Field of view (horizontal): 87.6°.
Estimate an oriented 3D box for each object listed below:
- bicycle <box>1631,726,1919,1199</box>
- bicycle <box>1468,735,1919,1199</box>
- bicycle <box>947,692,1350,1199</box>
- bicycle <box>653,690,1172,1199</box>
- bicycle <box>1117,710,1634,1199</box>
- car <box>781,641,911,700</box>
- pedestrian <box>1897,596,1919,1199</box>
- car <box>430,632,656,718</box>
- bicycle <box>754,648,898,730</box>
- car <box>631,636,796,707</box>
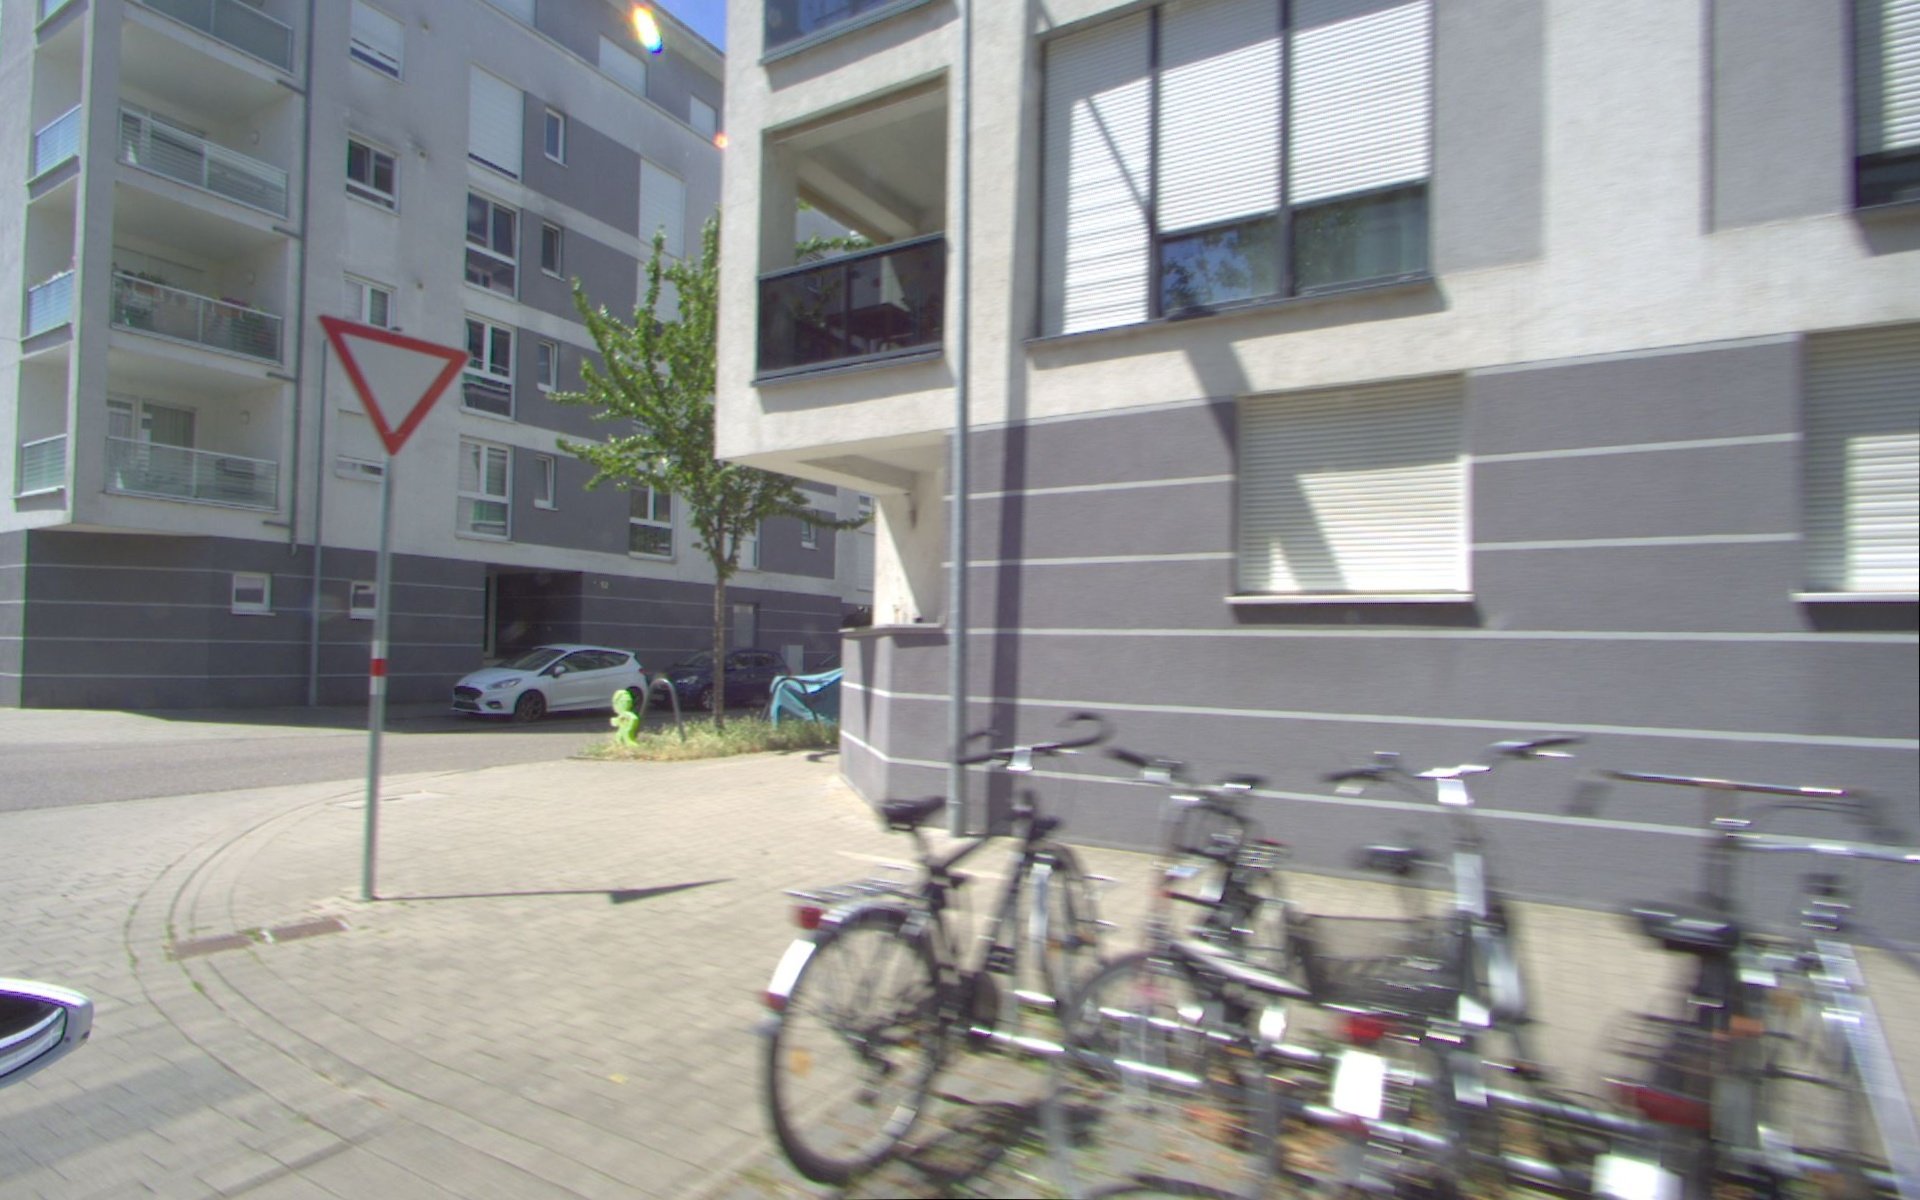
[{"bbox_3d":[1.989,0.921,1.985,0.452,1.163,1.839,0,-2,12],"label":"bicycle"},{"bbox_3d":[1.613,0.945,2.059,0.602,1.147,1.915,0,-2,40],"label":"bicycle"},{"bbox_3d":[0.652,0.934,2.921,0.697,1.233,1.549,0,-2,29],"label":"bicycle"},{"bbox_3d":[0.000,0.946,3.194,0.678,1.208,1.855,0,-2,34],"label":"bicycle"},{"bbox_3d":[1.157,0.938,2.457,0.631,1.194,1.915,0,-2,40],"label":"bicycle"},{"bbox_3d":[-3.211,2.005,28.909,1.804,1.504,3.871,2,-2,28],"label":"car"},{"bbox_3d":[2.382,0.740,1.764,0.676,1.534,1.180,0,-1,22],"label":"pedestrian"},{"bbox_3d":[-8.391,1.491,20.491,1.728,1.489,3.985,3,-1,30],"label":"car"},{"bbox_3d":[-2.173,1.440,16.431,2.212,1.253,0.783,1,-2,4],"label":"bicycle"},{"bbox_3d":[-5.922,1.711,24.443,1.702,1.577,3.788,0,-3,31],"label":"car"}]
